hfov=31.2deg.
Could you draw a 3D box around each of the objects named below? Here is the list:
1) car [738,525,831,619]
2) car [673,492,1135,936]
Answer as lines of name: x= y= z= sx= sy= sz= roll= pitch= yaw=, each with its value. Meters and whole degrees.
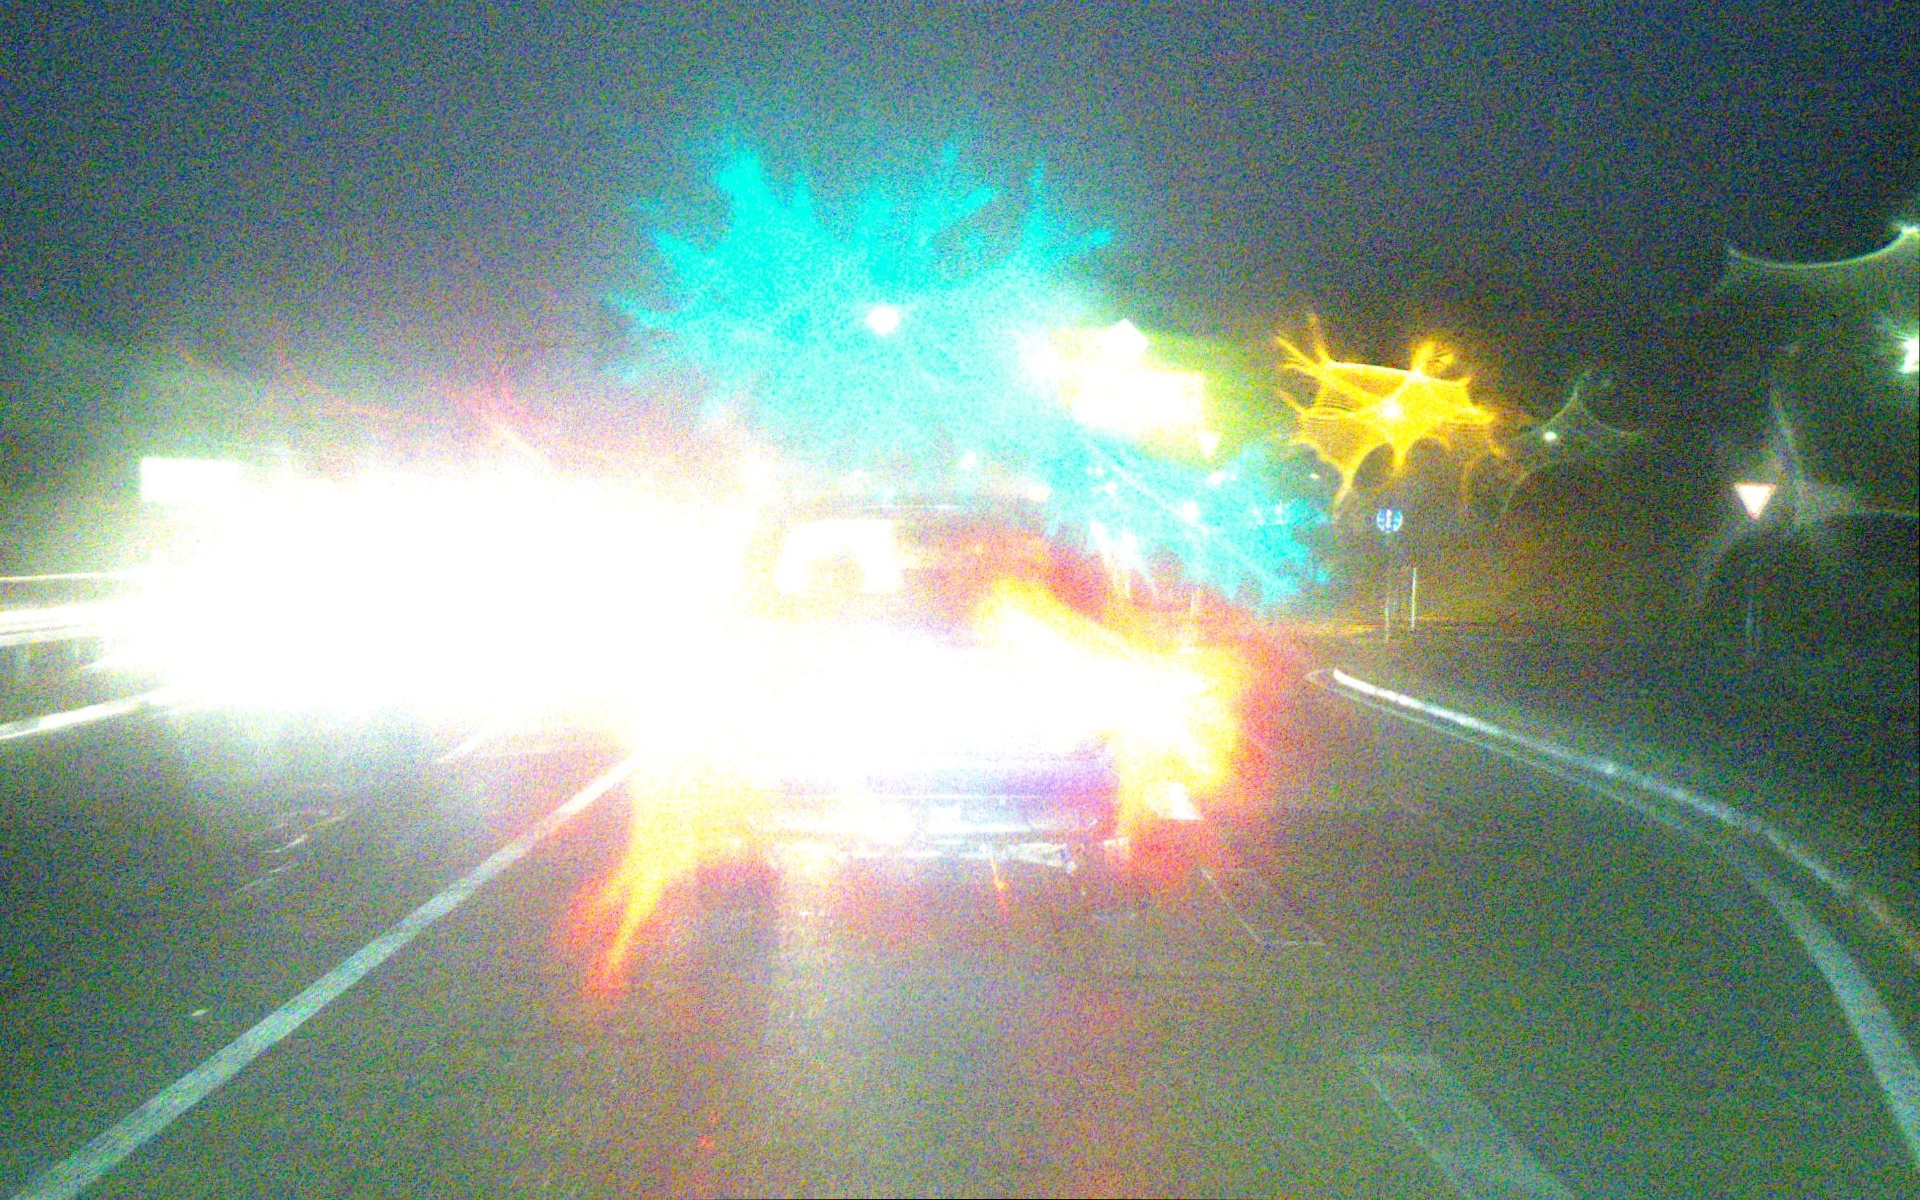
car: x=-4.073 y=-0.623 z=79.290 sx=1.993 sy=2.007 sz=4.000 roll=-1 pitch=-1 yaw=-5
car: x=-0.278 y=0.420 z=15.316 sx=1.775 sy=1.706 sz=4.000 roll=0 pitch=1 yaw=-2
